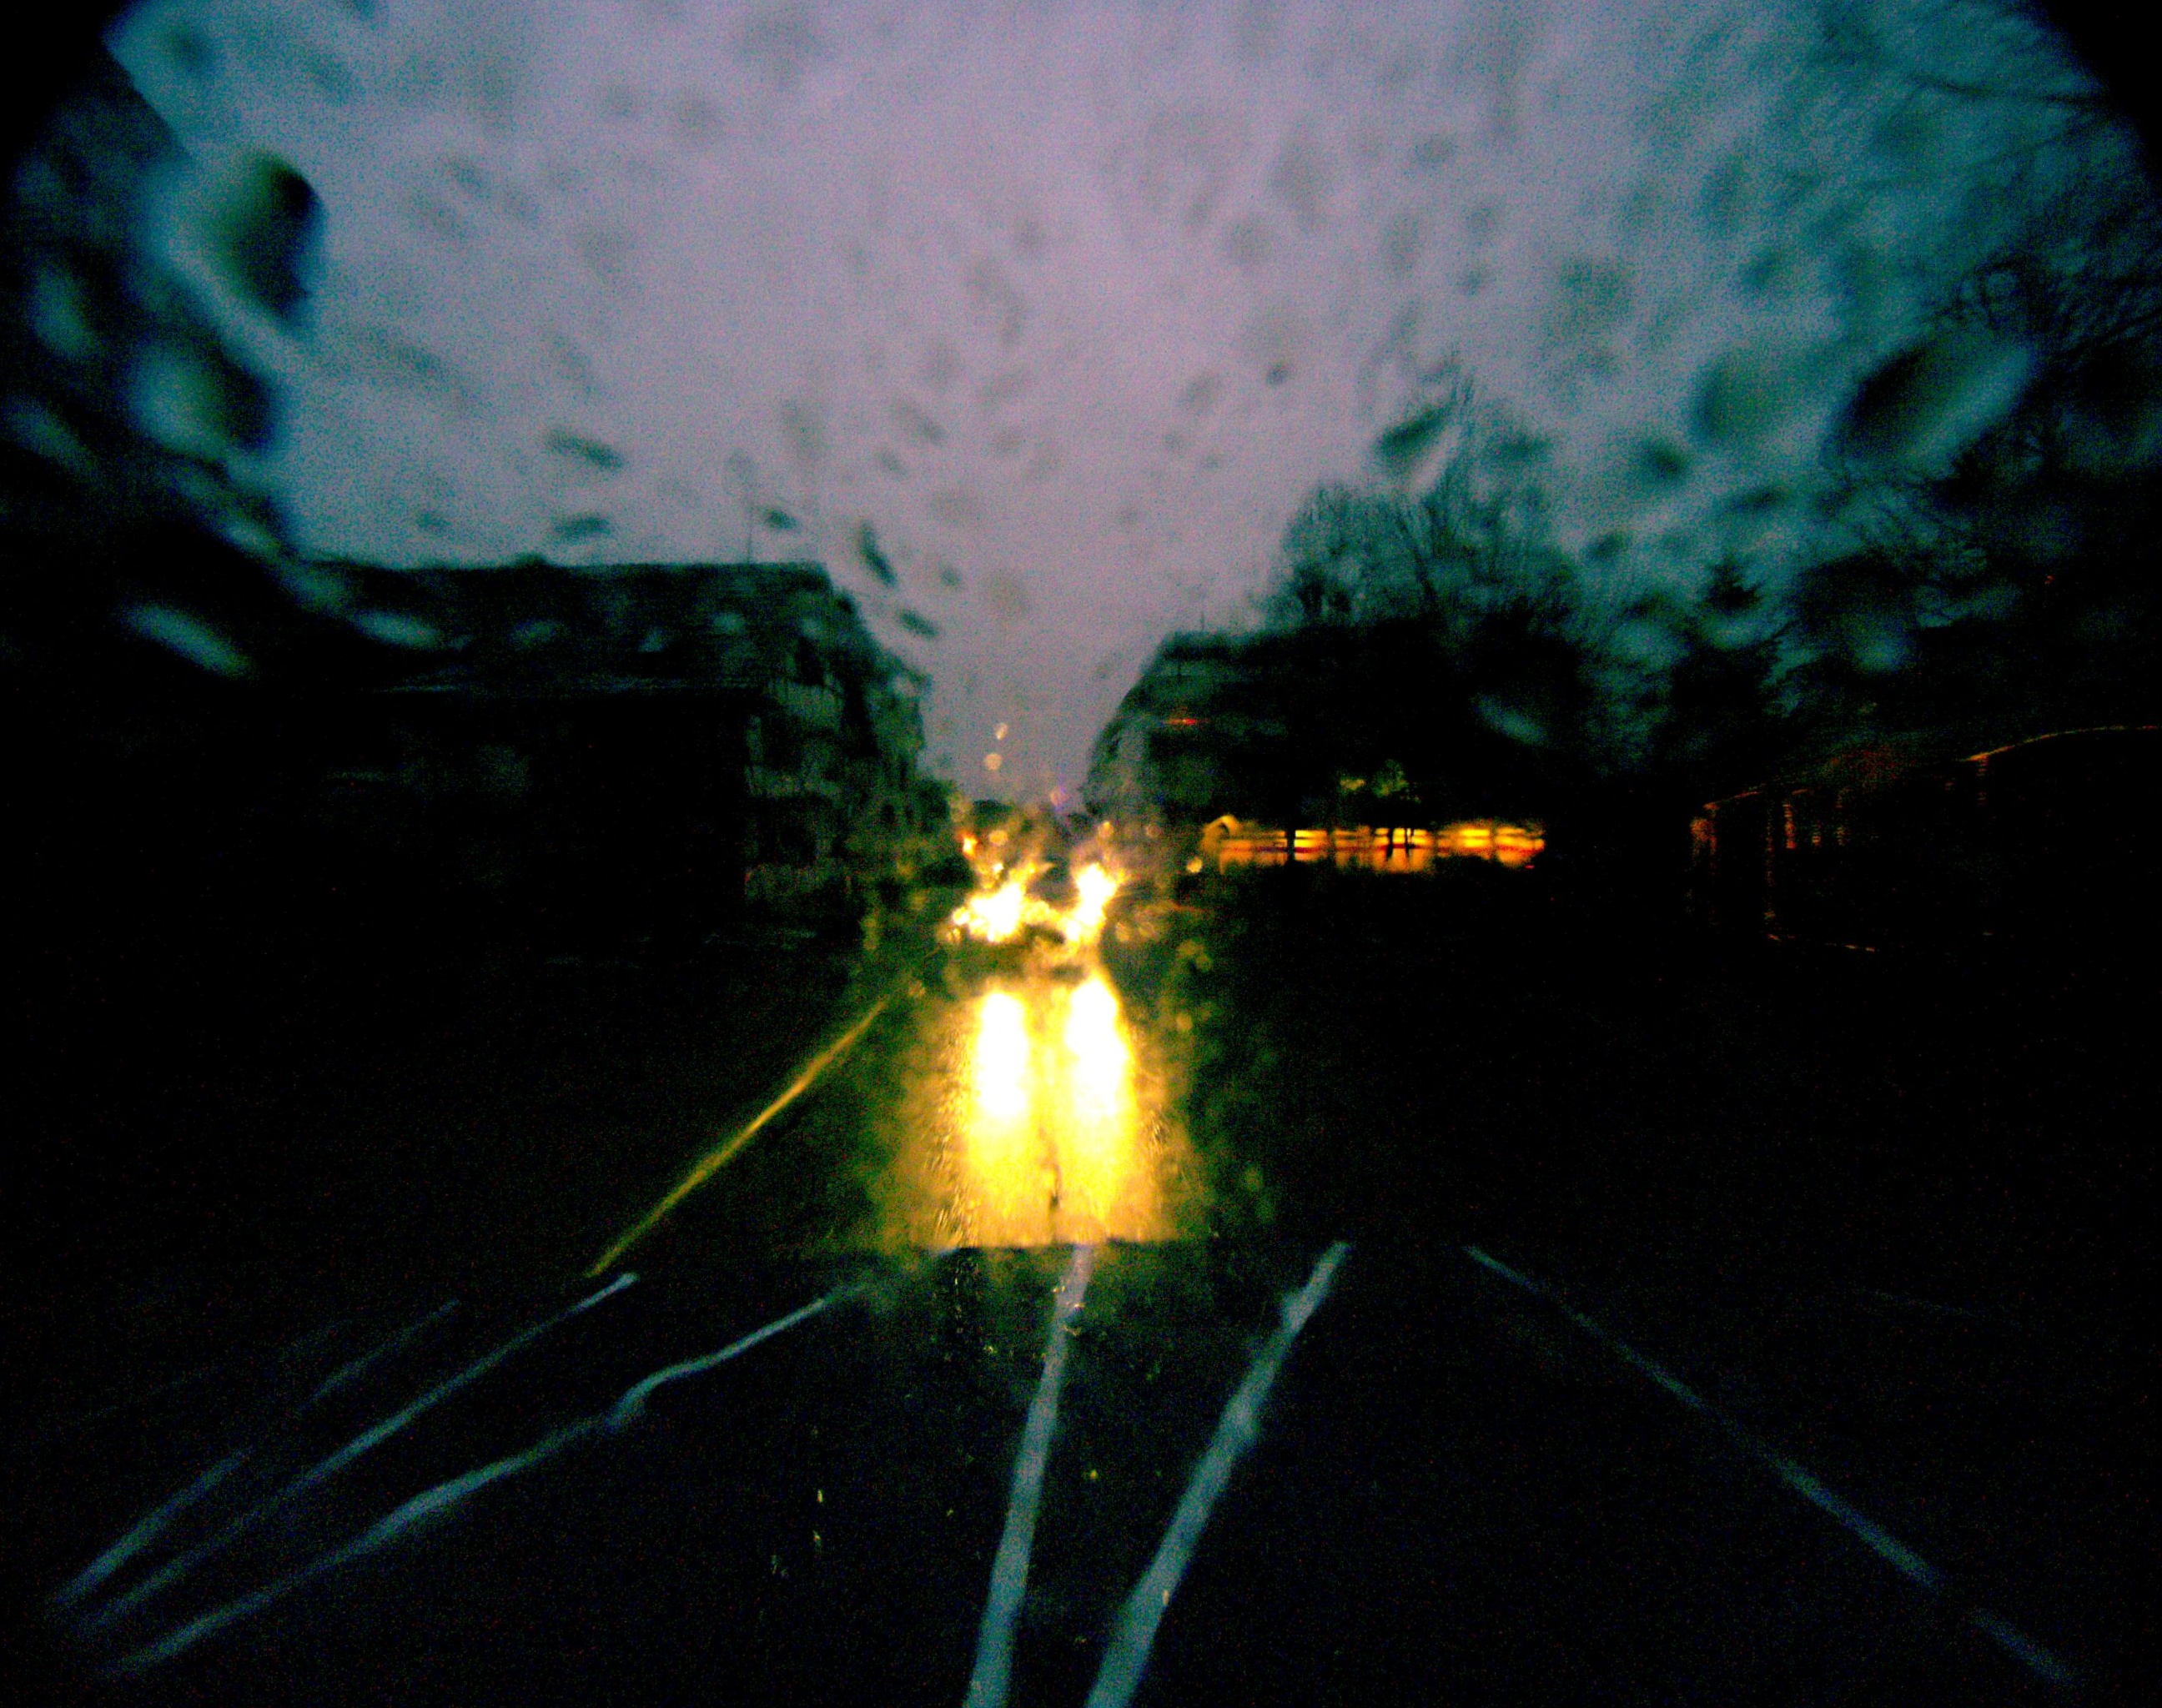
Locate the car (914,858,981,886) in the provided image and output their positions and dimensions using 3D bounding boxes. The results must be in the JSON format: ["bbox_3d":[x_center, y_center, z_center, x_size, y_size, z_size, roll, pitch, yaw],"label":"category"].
[{"bbox_3d":[-7.931,1.052,45.208,3.854,1.618,1.610,1,0,-9],"label":"car"}]

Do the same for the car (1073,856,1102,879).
[{"bbox_3d":[0.453,0.976,56.788,1.900,1.607,3.825,-2,0,-4],"label":"car"}]

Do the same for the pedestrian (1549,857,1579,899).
[{"bbox_3d":[15.530,0.767,24.443,0.620,1.331,0.568,-1,0,8],"label":"pedestrian"}]

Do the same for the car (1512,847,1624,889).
[{"bbox_3d":[18.788,0.532,29.408,3.306,1.498,1.503,-2,0,8],"label":"car"}]

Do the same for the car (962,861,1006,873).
[{"bbox_3d":[-8.844,1.164,69.466,3.889,1.120,1.550,0,0,-5],"label":"car"}]

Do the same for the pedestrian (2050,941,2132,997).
[{"bbox_3d":[9.647,1.095,7.267,0.295,0.482,0.361,1,1,1],"label":"pedestrian"}]

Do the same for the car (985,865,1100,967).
[{"bbox_3d":[-0.619,0.982,13.555,1.731,1.475,3.603,-2,0,-1],"label":"car"}]

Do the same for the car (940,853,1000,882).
[{"bbox_3d":[-7.459,0.892,50.781,3.891,1.866,1.867,0,0,-10],"label":"car"}]

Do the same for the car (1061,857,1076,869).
[{"bbox_3d":[-1.780,1.270,110.404,1.837,1.703,3.701,-2,0,3],"label":"car"}]

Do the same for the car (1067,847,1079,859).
[{"bbox_3d":[-1.403,-0.122,132.082,1.837,2.002,3.699,-2,0,-1],"label":"car"}]

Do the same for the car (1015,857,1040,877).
[{"bbox_3d":[-4.622,1.064,65.009,1.924,1.608,3.866,-2,0,-6],"label":"car"}]

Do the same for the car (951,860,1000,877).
[{"bbox_3d":[-8.542,1.133,61.767,3.889,1.359,1.550,0,0,-5],"label":"car"}]
